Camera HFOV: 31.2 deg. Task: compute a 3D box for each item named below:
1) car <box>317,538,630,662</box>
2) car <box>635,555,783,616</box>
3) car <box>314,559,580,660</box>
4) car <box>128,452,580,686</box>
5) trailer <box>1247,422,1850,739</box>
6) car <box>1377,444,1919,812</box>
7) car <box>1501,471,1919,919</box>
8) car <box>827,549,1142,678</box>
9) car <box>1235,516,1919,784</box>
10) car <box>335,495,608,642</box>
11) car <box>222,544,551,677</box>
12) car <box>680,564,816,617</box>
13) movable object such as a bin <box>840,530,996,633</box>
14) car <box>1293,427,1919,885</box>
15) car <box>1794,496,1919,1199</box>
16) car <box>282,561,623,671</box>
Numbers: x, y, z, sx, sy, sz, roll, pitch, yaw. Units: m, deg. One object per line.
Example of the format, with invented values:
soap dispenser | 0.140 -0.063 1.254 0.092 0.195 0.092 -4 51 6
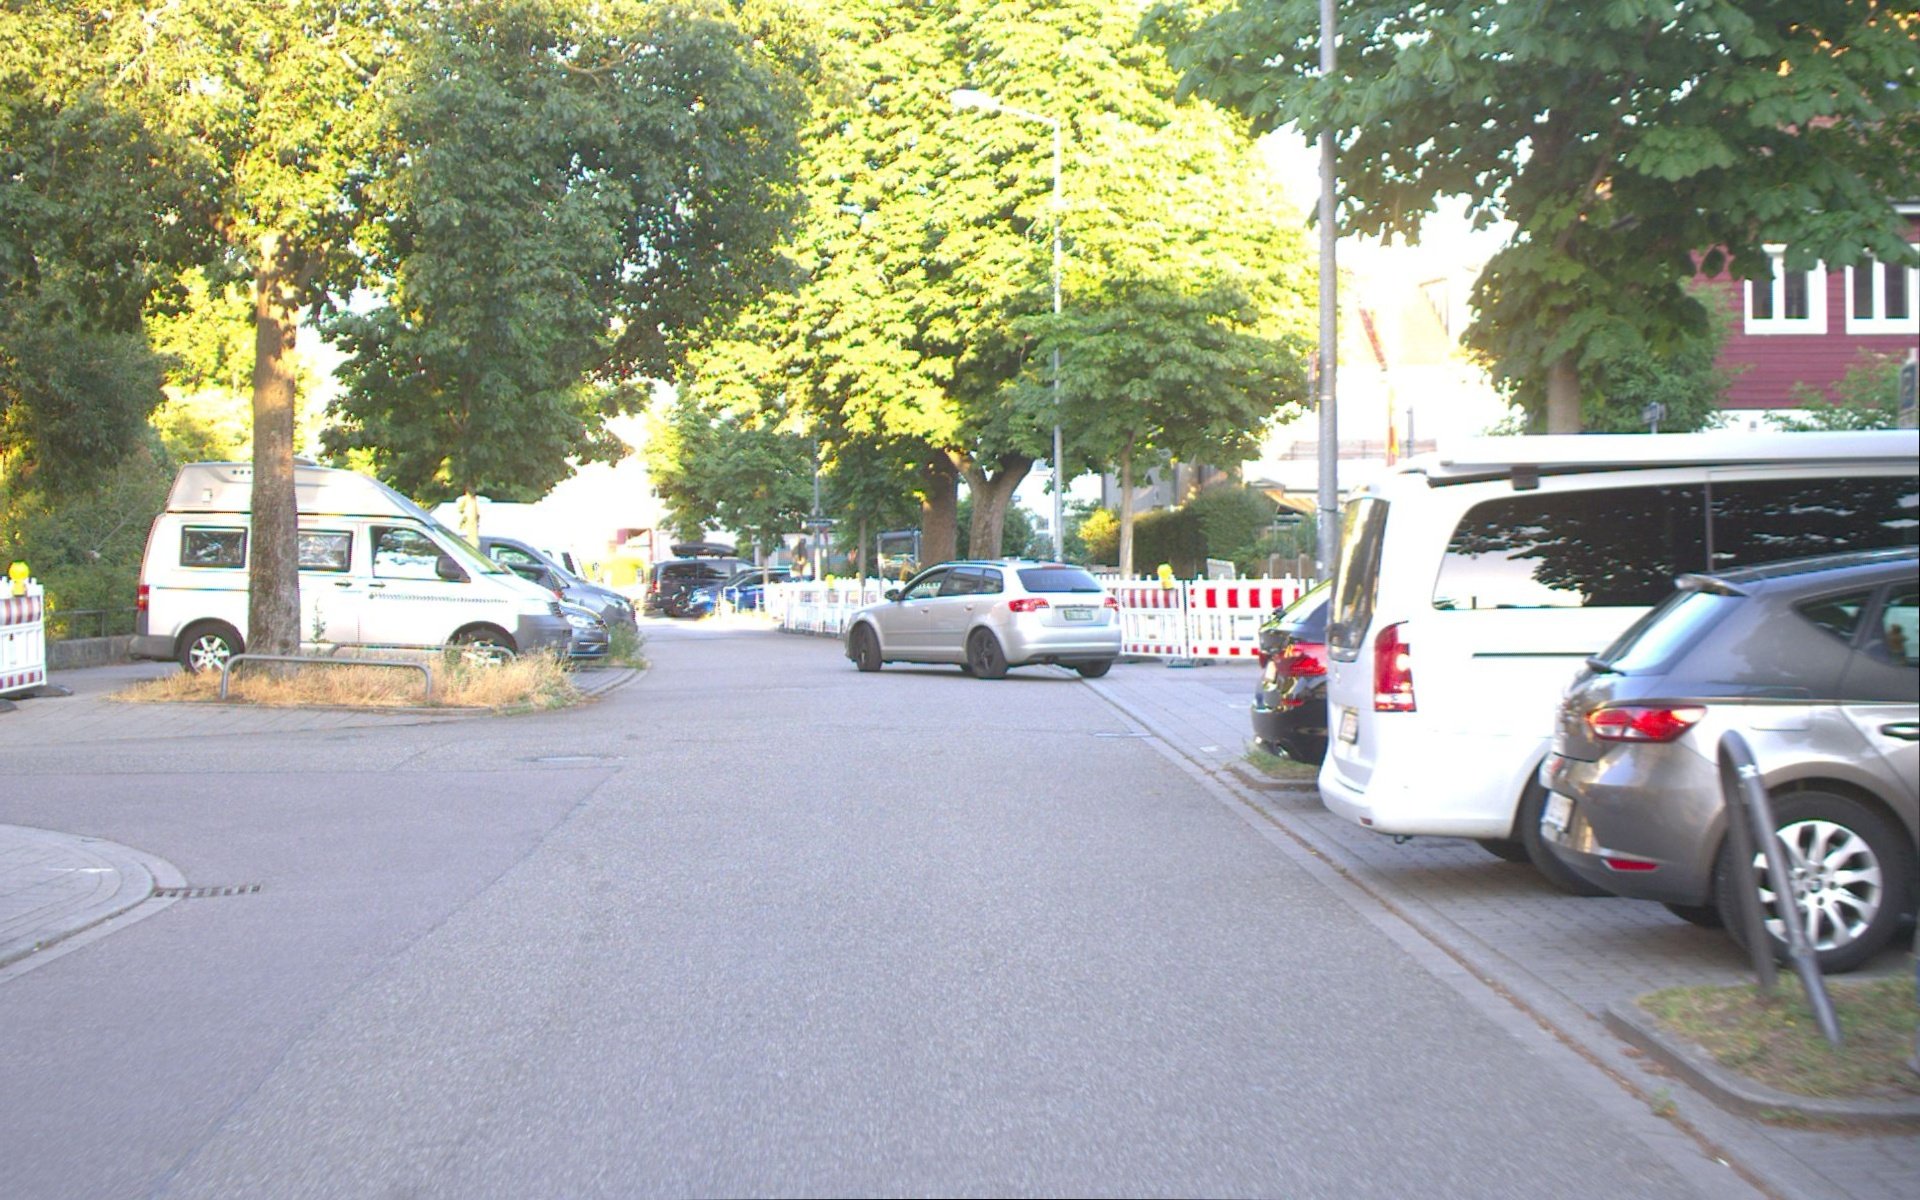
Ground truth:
car | -7.438 -0.014 52.815 4.672 1.867 2.000 0 0 -7
car | -8.351 -0.489 114.228 4.555 2.016 2.102 0 0 -17
car | -7.473 0.135 50.326 3.768 1.434 1.656 0 0 -6
car | -6.778 -0.350 38.801 4.731 2.561 2.000 0 0 1
trailer | 4.142 -0.143 24.710 3.987 2.180 2.000 0 0 0
car | 4.411 0.127 17.678 4.301 1.793 1.904 0 0 0
car | 4.092 0.311 12.444 3.987 1.504 1.776 0 0 0
car | 0.250 0.129 41.801 1.808 1.483 3.999 -1 1 -36
car | 3.890 0.270 20.091 4.427 1.494 1.773 0 0 0
car | -8.222 -0.538 58.102 4.501 2.422 2.000 0 0 -7
car | -7.024 0.125 42.379 3.803 1.517 1.653 1 0 -3
car | -6.764 -0.315 109.532 3.986 1.645 1.765 0 0 -20
movable object such as a bin | -1.061 -0.462 83.230 2.627 2.394 5.199 0 1 -14
car | 3.577 0.224 15.265 3.987 1.897 2.000 0 0 0
car | 4.077 0.548 7.675 3.945 1.560 1.821 0 0 -3
car | -6.627 0.200 45.179 4.244 1.389 1.684 0 0 -1
